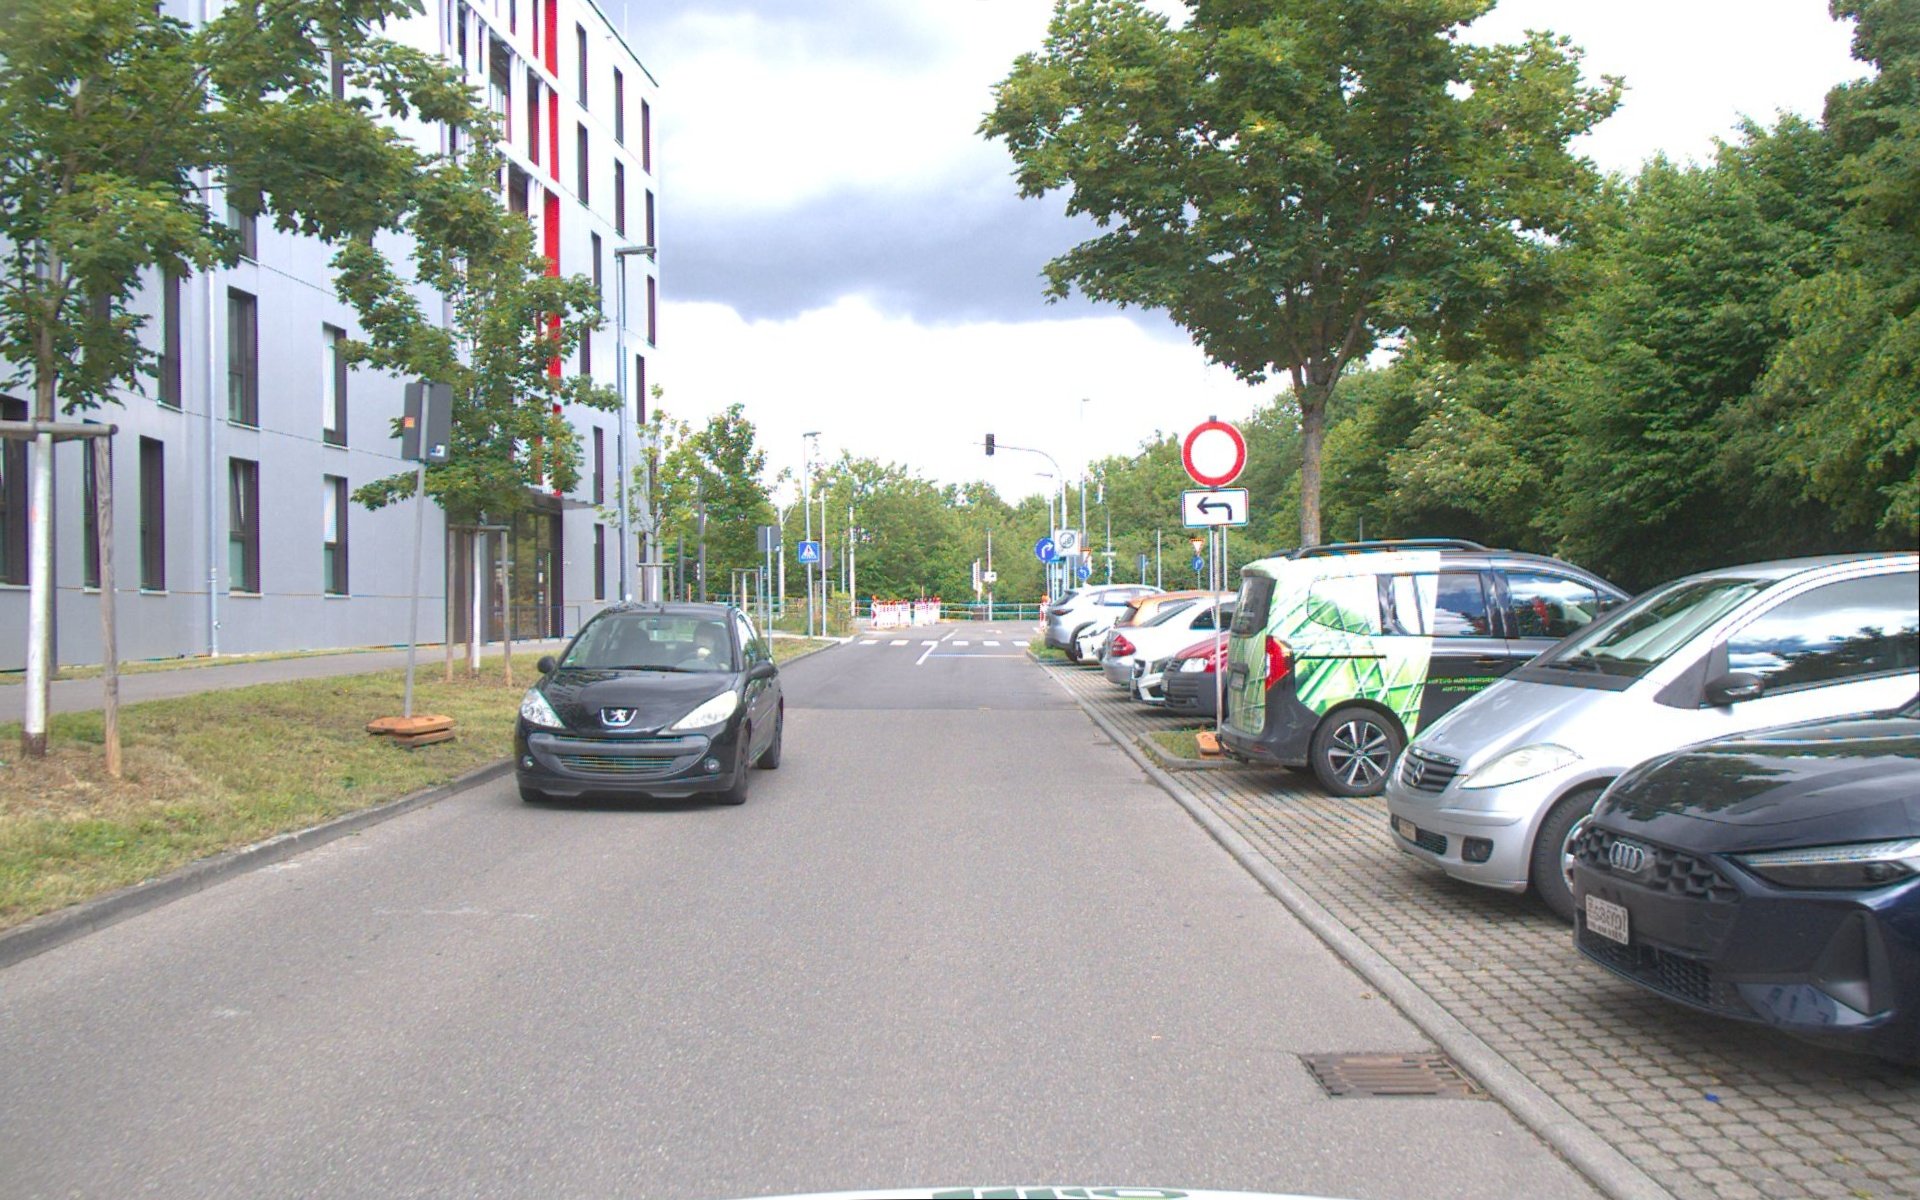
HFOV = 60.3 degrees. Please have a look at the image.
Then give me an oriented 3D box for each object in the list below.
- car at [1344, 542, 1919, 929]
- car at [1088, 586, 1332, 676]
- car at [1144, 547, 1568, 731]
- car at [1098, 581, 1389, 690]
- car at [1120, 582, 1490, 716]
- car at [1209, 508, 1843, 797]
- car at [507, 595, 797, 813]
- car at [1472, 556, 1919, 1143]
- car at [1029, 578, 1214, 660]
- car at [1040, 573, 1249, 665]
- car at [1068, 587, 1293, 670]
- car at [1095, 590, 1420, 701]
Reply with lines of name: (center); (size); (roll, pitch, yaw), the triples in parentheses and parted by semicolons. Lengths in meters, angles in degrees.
car: (4.308, 0.534, 8.230); (4.291, 1.604, 1.916); (-2, 1, -2)
car: (4.663, 0.566, 31.266); (4.290, 1.610, 1.916); (0, 1, -2)
car: (4.342, 0.407, 18.617); (4.290, 1.937, 1.936); (0, 1, -2)
car: (4.442, 0.537, 26.367); (4.290, 1.646, 1.916); (0, 1, -2)
car: (4.284, 0.594, 21.016); (4.290, 1.601, 1.915); (0, 0, -2)
car: (4.295, 0.362, 13.034); (4.291, 1.937, 1.916); (-2, 1, -2)
car: (-2.256, 0.692, 13.064); (1.576, 1.412, 4.000); (1, 1, -1)
car: (4.422, 0.578, 5.653); (4.633, 1.525, 2.109); (-2, 1, -5)
car: (3.894, 0.442, 40.451); (4.290, 1.937, 1.916); (0, 1, -2)
car: (3.968, 0.390, 36.028); (4.290, 1.937, 1.916); (0, 1, -2)
car: (4.438, 0.565, 33.678); (4.290, 1.610, 1.916); (0, 1, -2)
car: (4.185, 0.624, 23.741); (4.290, 1.500, 1.916); (0, 1, -2)
